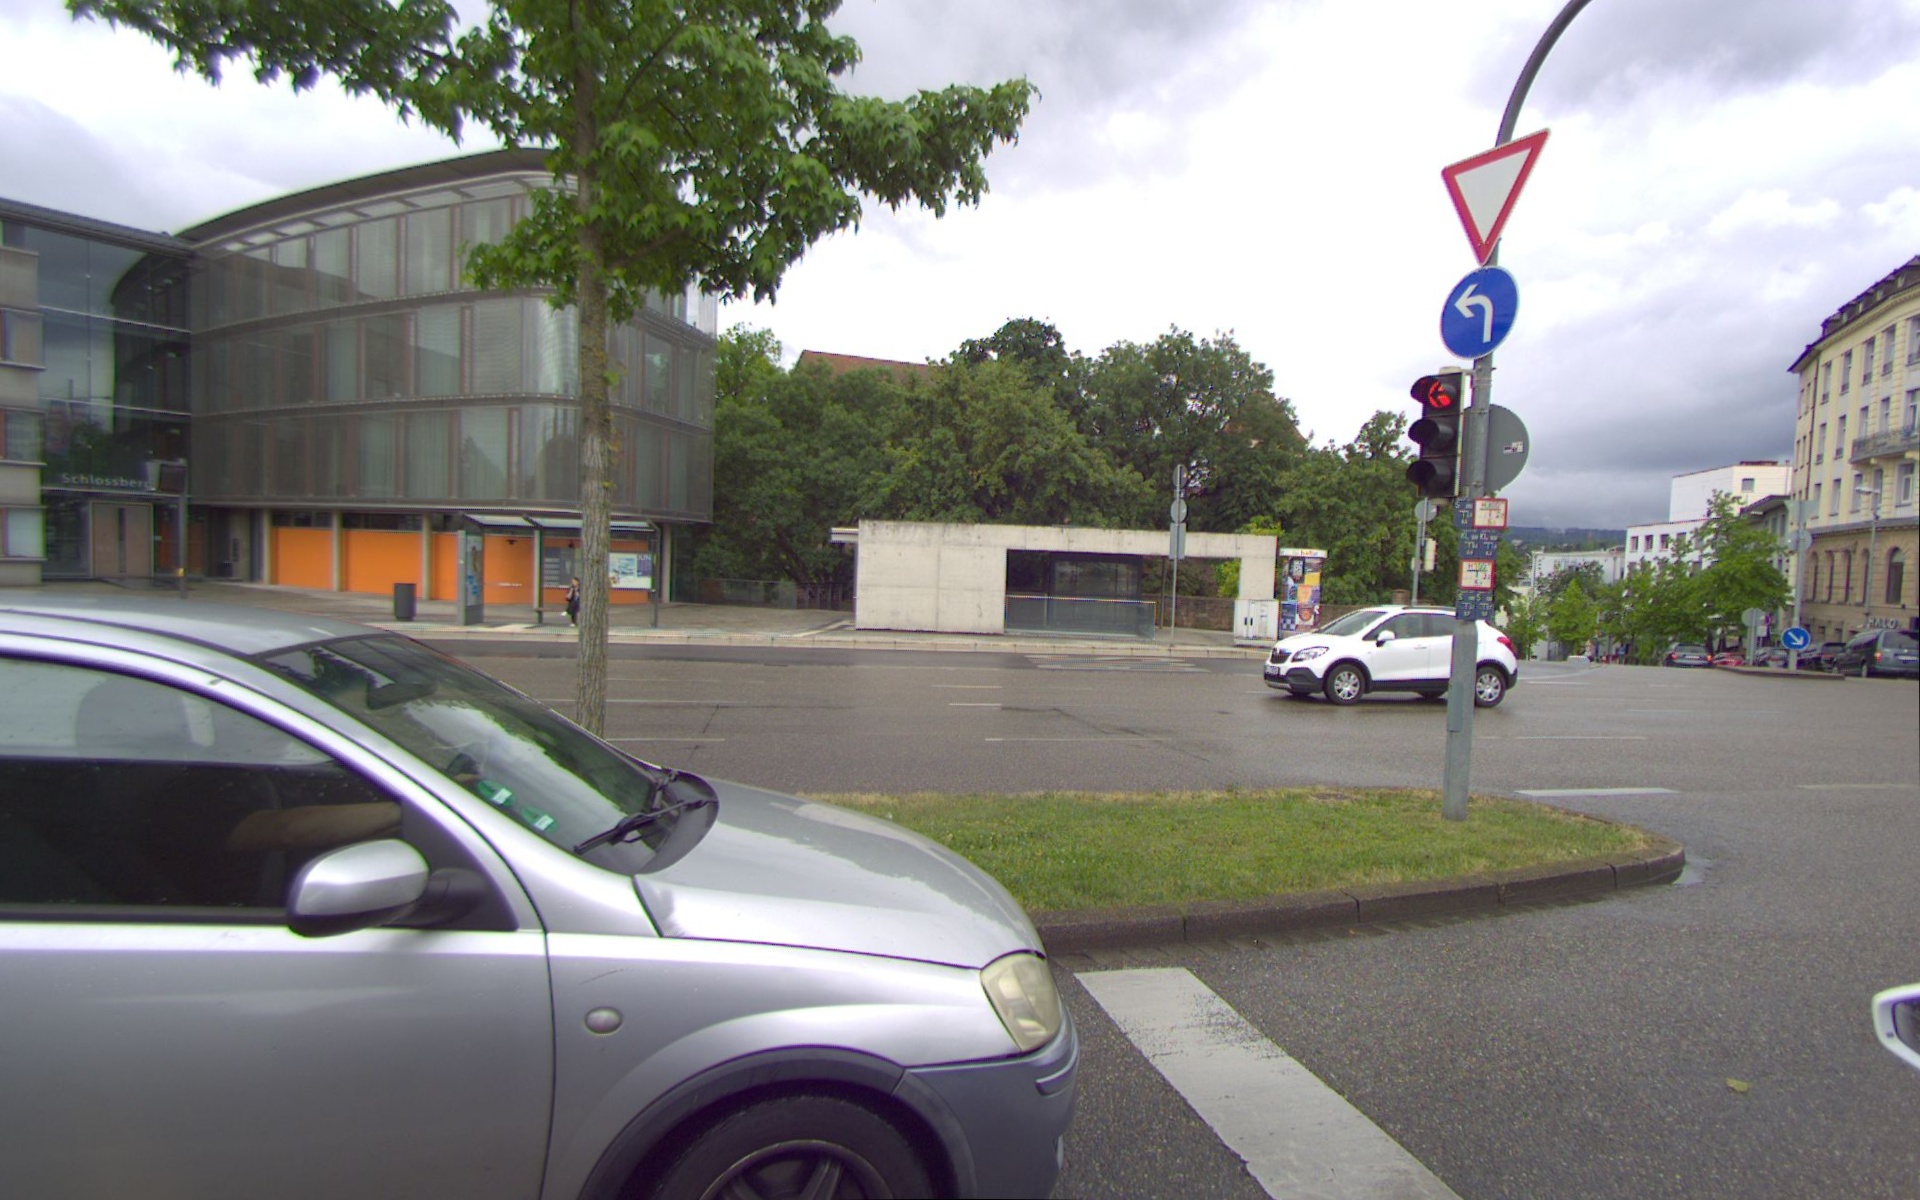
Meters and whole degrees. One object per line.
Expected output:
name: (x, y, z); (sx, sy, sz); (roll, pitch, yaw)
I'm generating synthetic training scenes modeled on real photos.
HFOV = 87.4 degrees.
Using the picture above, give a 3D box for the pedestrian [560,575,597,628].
pedestrian: (-9.785, 0.042, 25.804); (0.706, 1.316, 0.668); (2, 0, -7)

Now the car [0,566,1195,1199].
car: (-1.563, 0.692, 2.202); (3.657, 1.485, 1.695); (2, 0, -14)

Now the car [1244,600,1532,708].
car: (7.289, 0.895, 17.371); (4.130, 1.639, 1.960); (2, 0, -7)

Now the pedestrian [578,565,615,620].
pedestrian: (-12.021, -0.240, 33.222); (0.809, 1.779, 0.786); (2, 1, 12)

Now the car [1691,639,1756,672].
car: (39.777, 2.843, 52.426); (1.736, 1.498, 4.008); (2, 0, 23)

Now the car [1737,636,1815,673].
car: (37.732, 2.491, 46.563); (1.736, 1.498, 3.998); (2, 0, 23)

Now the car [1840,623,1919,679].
car: (33.022, 1.780, 35.765); (1.605, 1.783, 3.994); (2, 1, 28)

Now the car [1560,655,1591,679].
car: (43.477, 4.705, 71.031); (1.605, 1.416, 3.994); (2, 0, 29)

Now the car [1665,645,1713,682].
car: (33.702, 2.891, 46.497); (1.672, 1.485, 4.438); (2, 0, 35)

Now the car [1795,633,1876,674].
car: (36.063, 2.160, 41.457); (1.605, 1.417, 3.994); (2, 1, 28)
